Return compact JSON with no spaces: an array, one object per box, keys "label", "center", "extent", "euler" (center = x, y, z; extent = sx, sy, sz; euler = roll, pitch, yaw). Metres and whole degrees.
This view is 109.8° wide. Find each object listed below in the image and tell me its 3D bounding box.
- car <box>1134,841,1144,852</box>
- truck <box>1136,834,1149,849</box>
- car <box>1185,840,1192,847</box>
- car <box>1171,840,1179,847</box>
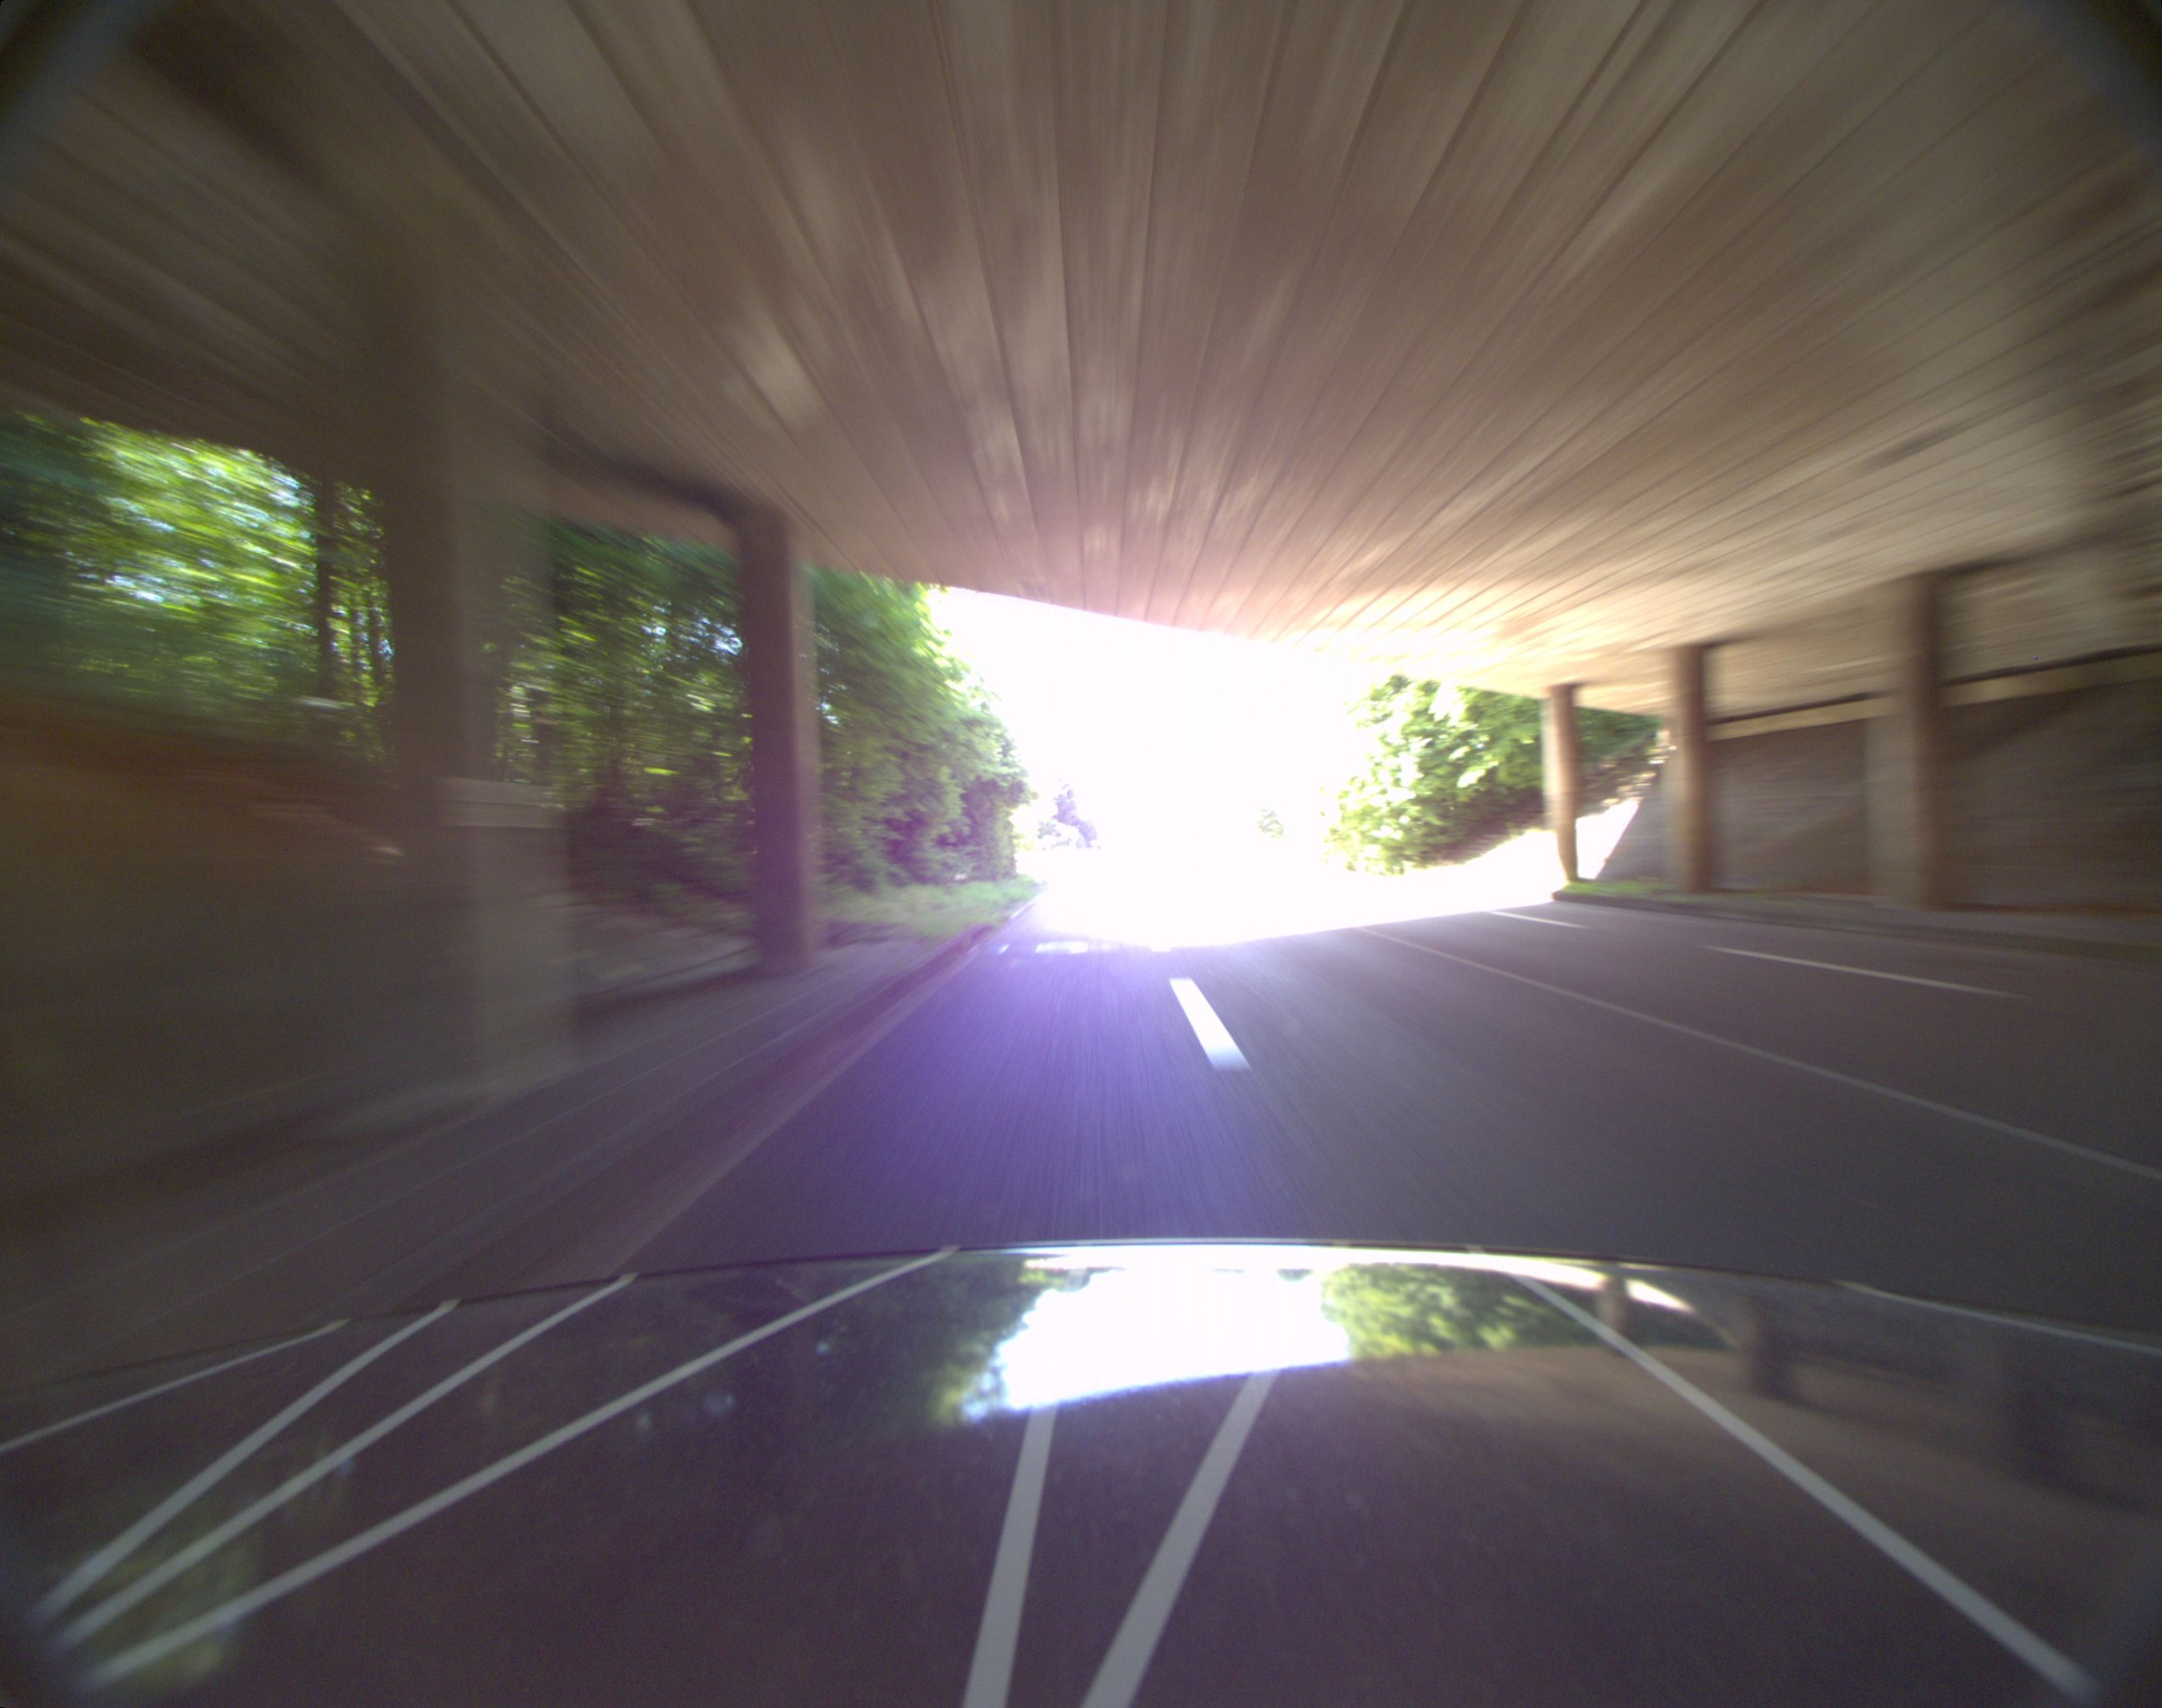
[{"label":"car","center":[9.826,-1.200,128.856],"extent":[1.746,1.833,4.001],"euler":[0,1,4]},{"label":"truck","center":[12.080,-2.421,148.071],"extent":[2.457,2.926,6.976],"euler":[0,1,5]},{"label":"car","center":[29.484,-2.935,208.455],"extent":[1.844,2.002,4.002],"euler":[-1,1,7]},{"label":"car","center":[24.926,-2.849,201.896],"extent":[1.997,1.952,4.002],"euler":[0,1,7]}]
